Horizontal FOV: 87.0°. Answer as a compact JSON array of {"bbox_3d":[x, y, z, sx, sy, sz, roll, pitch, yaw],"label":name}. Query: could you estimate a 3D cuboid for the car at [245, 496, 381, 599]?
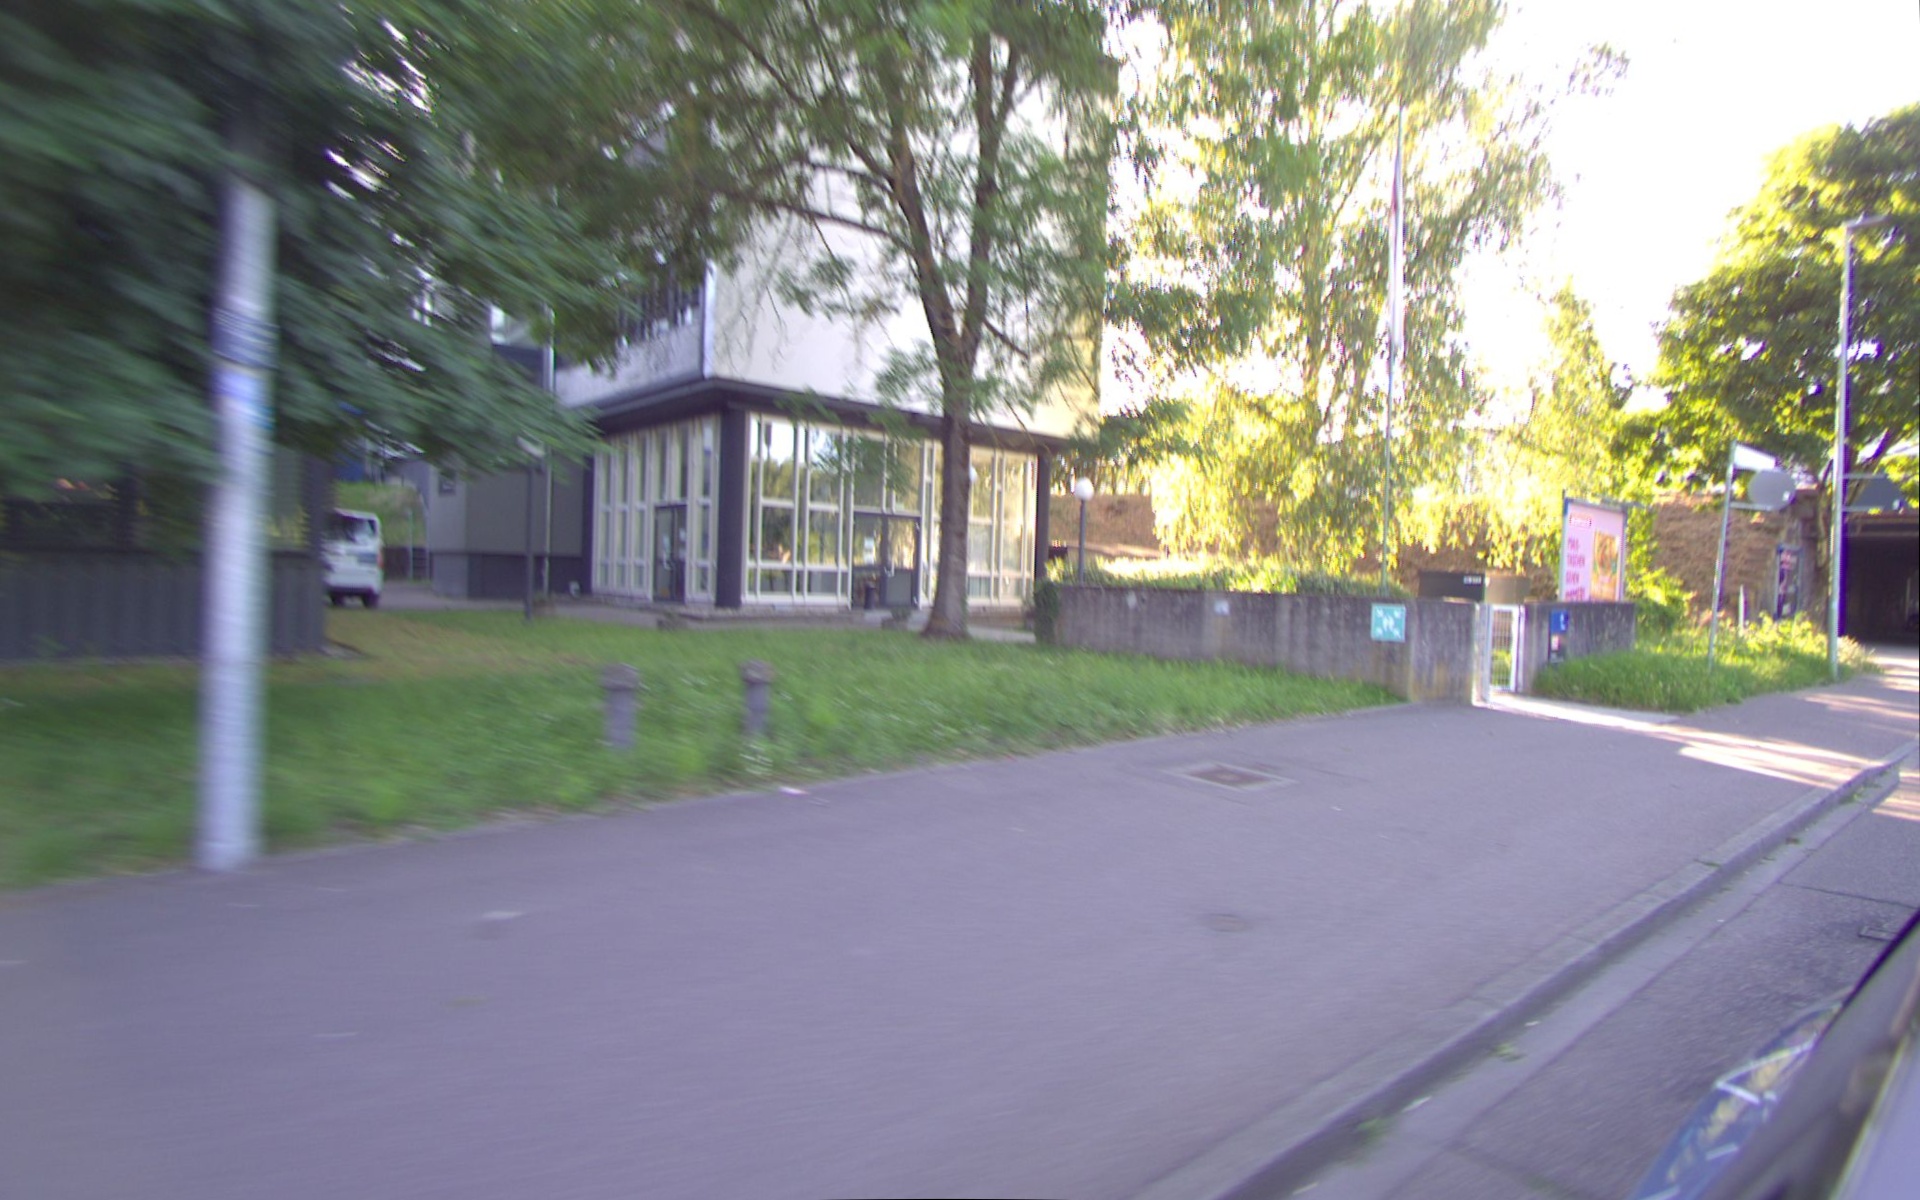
[{"bbox_3d":[-14.159,-1.057,22.044,1.965,2.039,3.994,0,1,-41],"label":"car"}]
